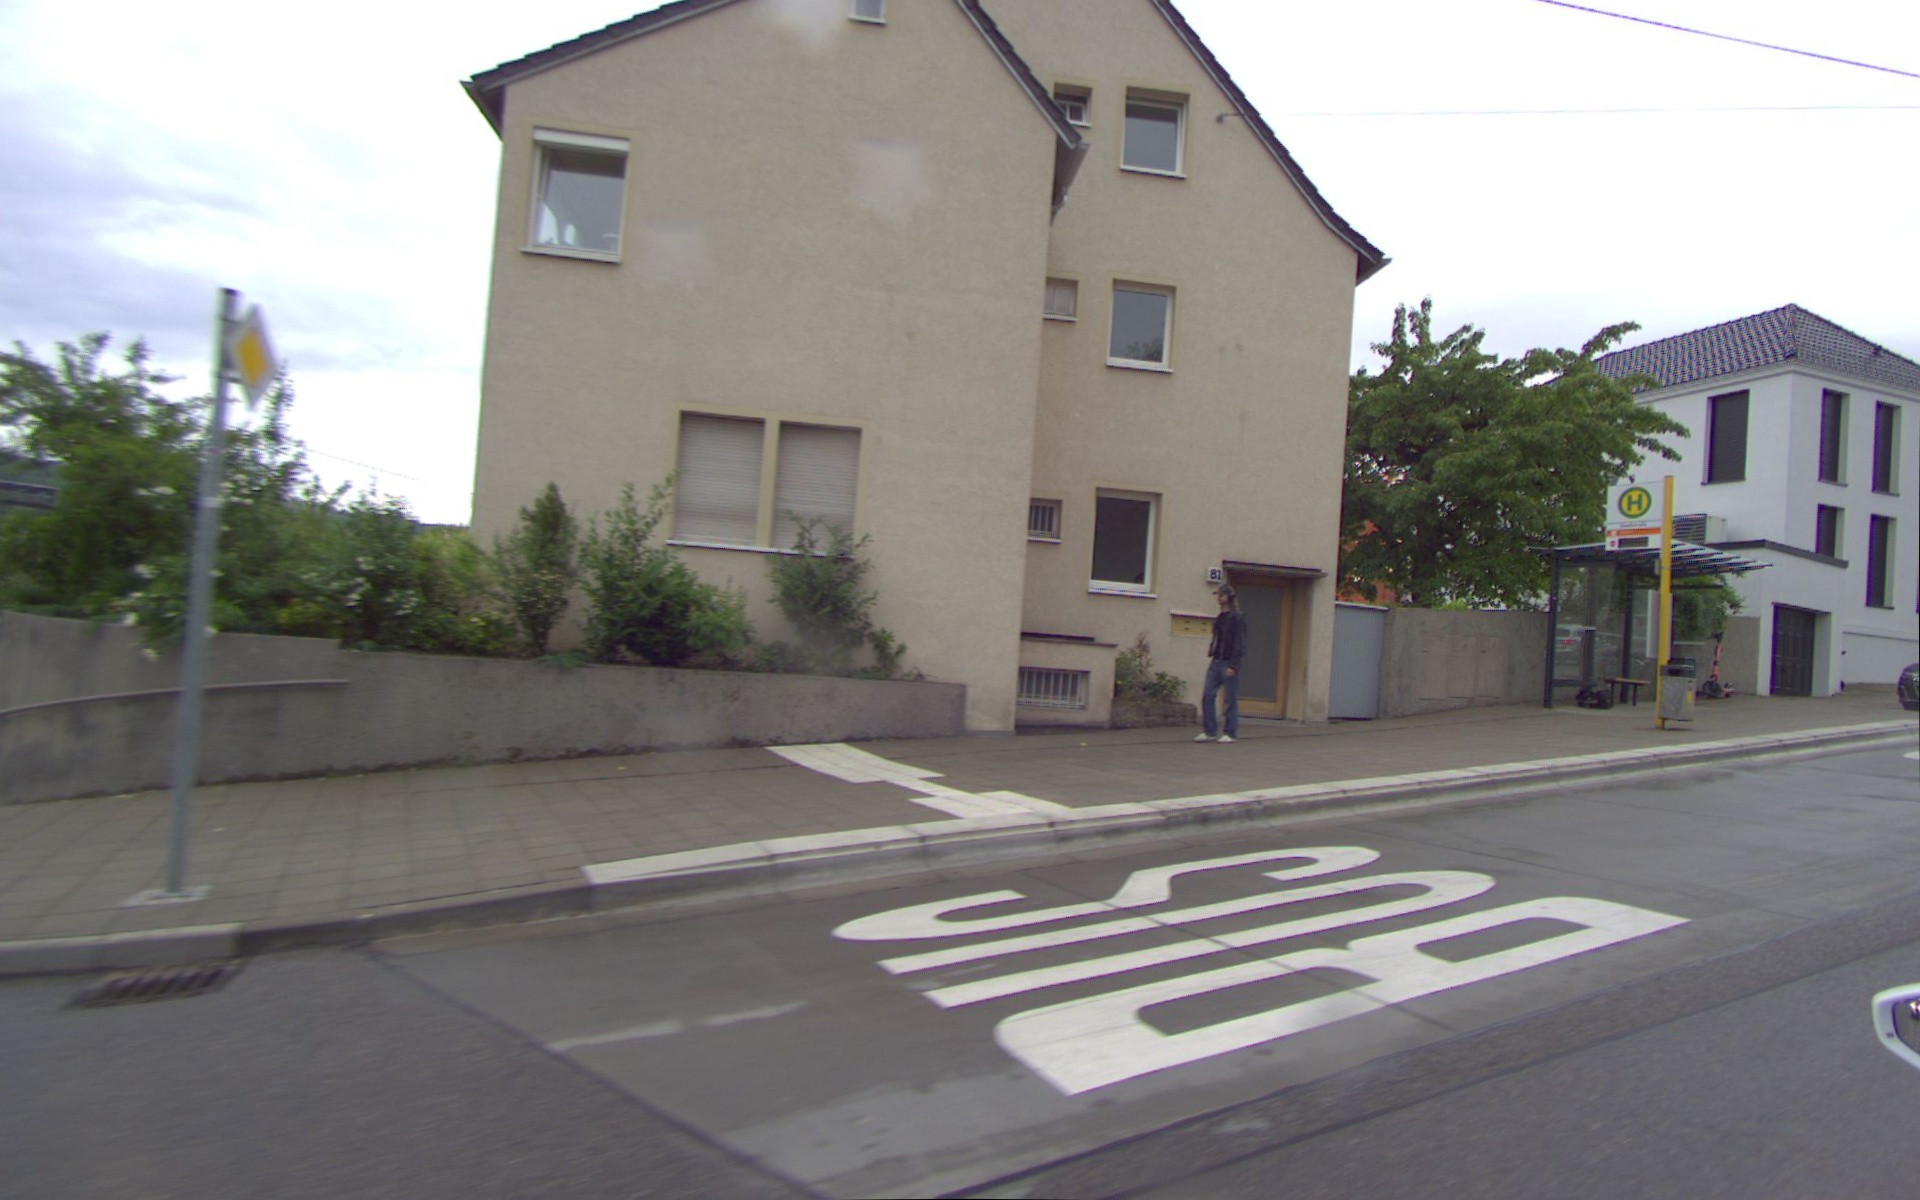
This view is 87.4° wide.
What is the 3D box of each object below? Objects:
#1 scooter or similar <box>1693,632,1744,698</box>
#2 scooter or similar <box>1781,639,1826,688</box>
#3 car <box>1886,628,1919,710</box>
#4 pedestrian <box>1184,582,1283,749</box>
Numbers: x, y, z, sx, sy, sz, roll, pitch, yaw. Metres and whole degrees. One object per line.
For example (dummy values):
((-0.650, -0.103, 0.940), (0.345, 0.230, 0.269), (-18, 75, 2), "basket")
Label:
((14.564, 1.245, 19.286), (1.109, 1.236, 0.336), (2, 0, -29), "scooter or similar")
((19.894, 1.495, 23.695), (1.298, 1.124, 0.427), (2, 0, -32), "scooter or similar")
((19.961, 1.359, 19.242), (4.930, 1.505, 1.821), (2, -2, -29), "car")
((3.222, 0.746, 11.867), (0.719, 1.882, 0.783), (2, 0, -29), "pedestrian")
